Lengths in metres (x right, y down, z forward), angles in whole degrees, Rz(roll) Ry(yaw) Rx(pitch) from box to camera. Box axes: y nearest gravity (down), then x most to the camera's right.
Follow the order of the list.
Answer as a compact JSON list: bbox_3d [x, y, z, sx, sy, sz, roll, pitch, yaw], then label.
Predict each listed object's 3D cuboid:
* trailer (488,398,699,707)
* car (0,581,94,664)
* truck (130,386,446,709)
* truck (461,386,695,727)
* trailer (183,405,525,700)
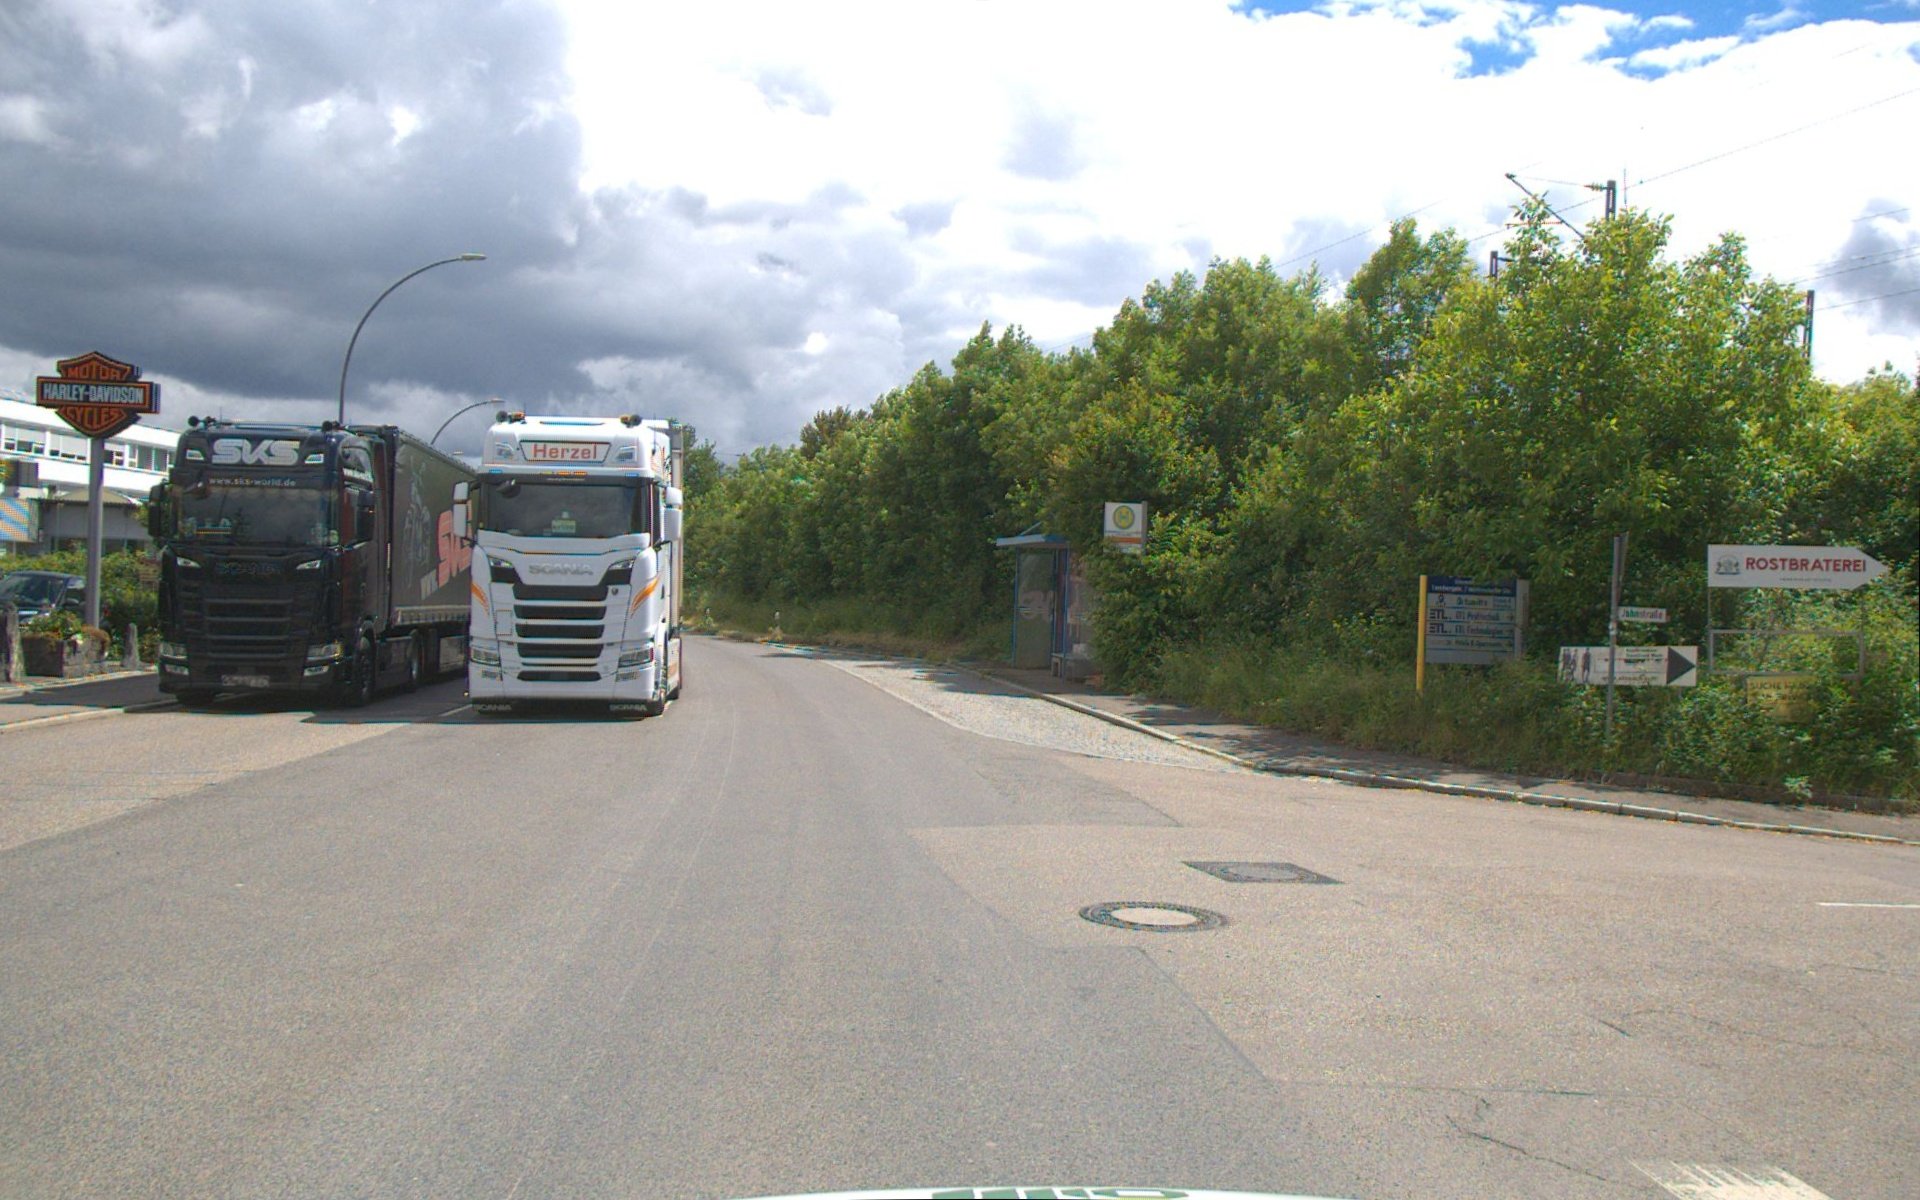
[{"bbox_3d":[-6.324,-0.625,30.769,2.720,4.217,15.318,2,-1,-9],"label":"trailer"},{"bbox_3d":[-16.430,0.371,29.026,1.023,1.388,2.687,2,-1,-1],"label":"car"},{"bbox_3d":[-9.782,-0.660,24.895,2.747,4.124,6.489,2,-1,-8],"label":"truck"},{"bbox_3d":[-5.202,-0.524,23.346,2.720,4.191,4.976,2,-1,-9],"label":"truck"},{"bbox_3d":[-10.676,-0.634,31.377,2.747,4.124,15.527,2,-1,-8],"label":"trailer"}]
